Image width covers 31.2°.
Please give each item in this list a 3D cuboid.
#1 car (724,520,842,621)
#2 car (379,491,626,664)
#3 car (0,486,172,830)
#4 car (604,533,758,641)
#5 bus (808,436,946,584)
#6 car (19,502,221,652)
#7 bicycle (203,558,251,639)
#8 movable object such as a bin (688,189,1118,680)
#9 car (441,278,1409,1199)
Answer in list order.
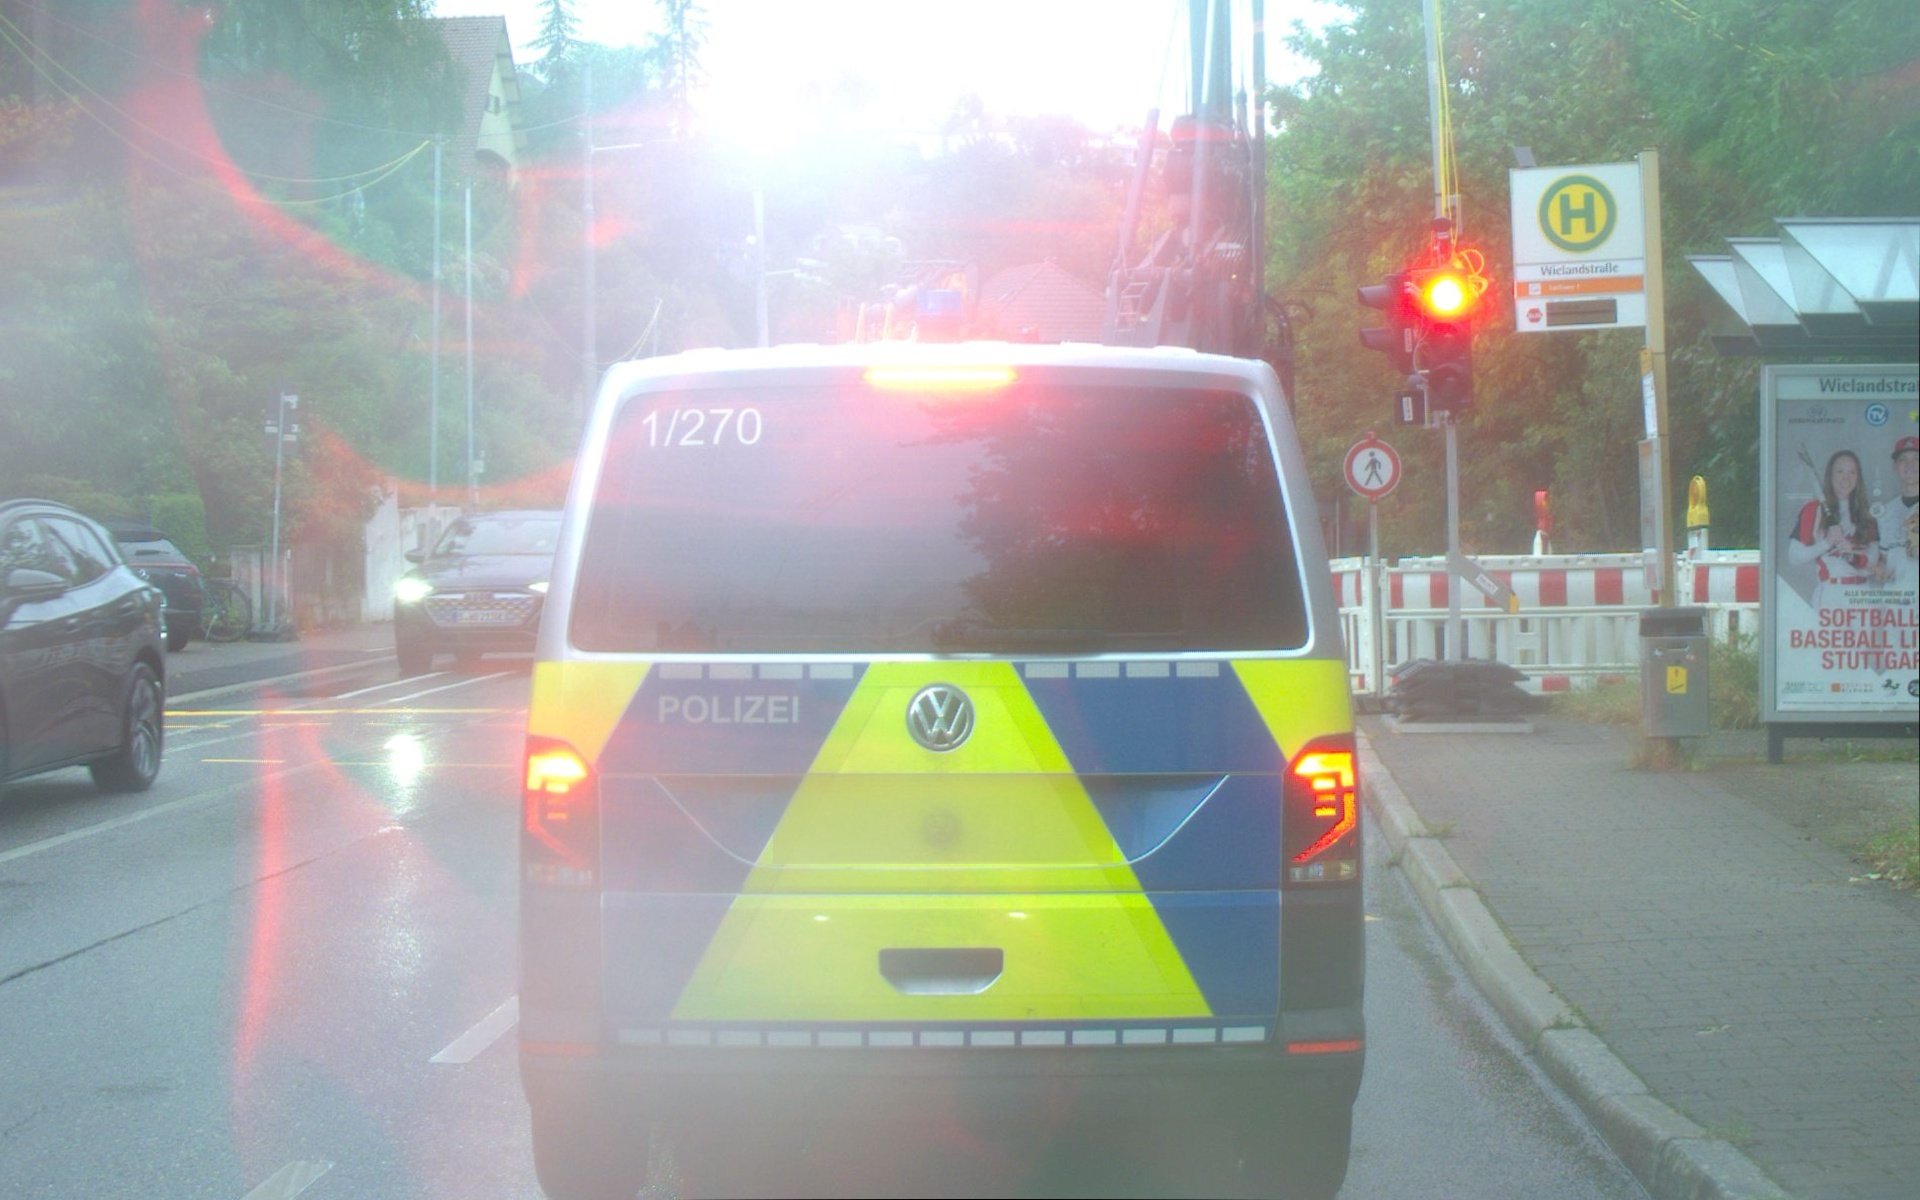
[{"bbox_3d":[-3.233,-0.554,62.203,1.979,1.742,4.554,1,1,-5],"label":"car"},{"bbox_3d":[-4.696,-0.256,35.942,1.993,1.668,4.688,1,1,-1],"label":"car"},{"bbox_3d":[-5.478,0.251,17.407,1.867,1.616,4.165,0,2,2],"label":"car"},{"bbox_3d":[-4.034,-0.220,50.238,1.764,1.458,3.886,1,1,3],"label":"car"},{"bbox_3d":[-2.109,-2.397,92.629,2.841,3.705,12.005,1,1,3],"label":"bus"},{"bbox_3d":[-9.323,-0.284,37.965,1.765,1.481,3.743,1,3,-20],"label":"car"},{"bbox_3d":[-8.441,-0.024,39.582,0.462,0.894,1.634,0,1,-15],"label":"bicycle"},{"bbox_3d":[-0.420,-1.463,31.621,2.832,4.163,4.378,1,1,15],"label":"movable object such as a bin"},{"bbox_3d":[-0.094,0.355,8.822,1.893,2.043,4.000,1,1,-1],"label":"car"}]
